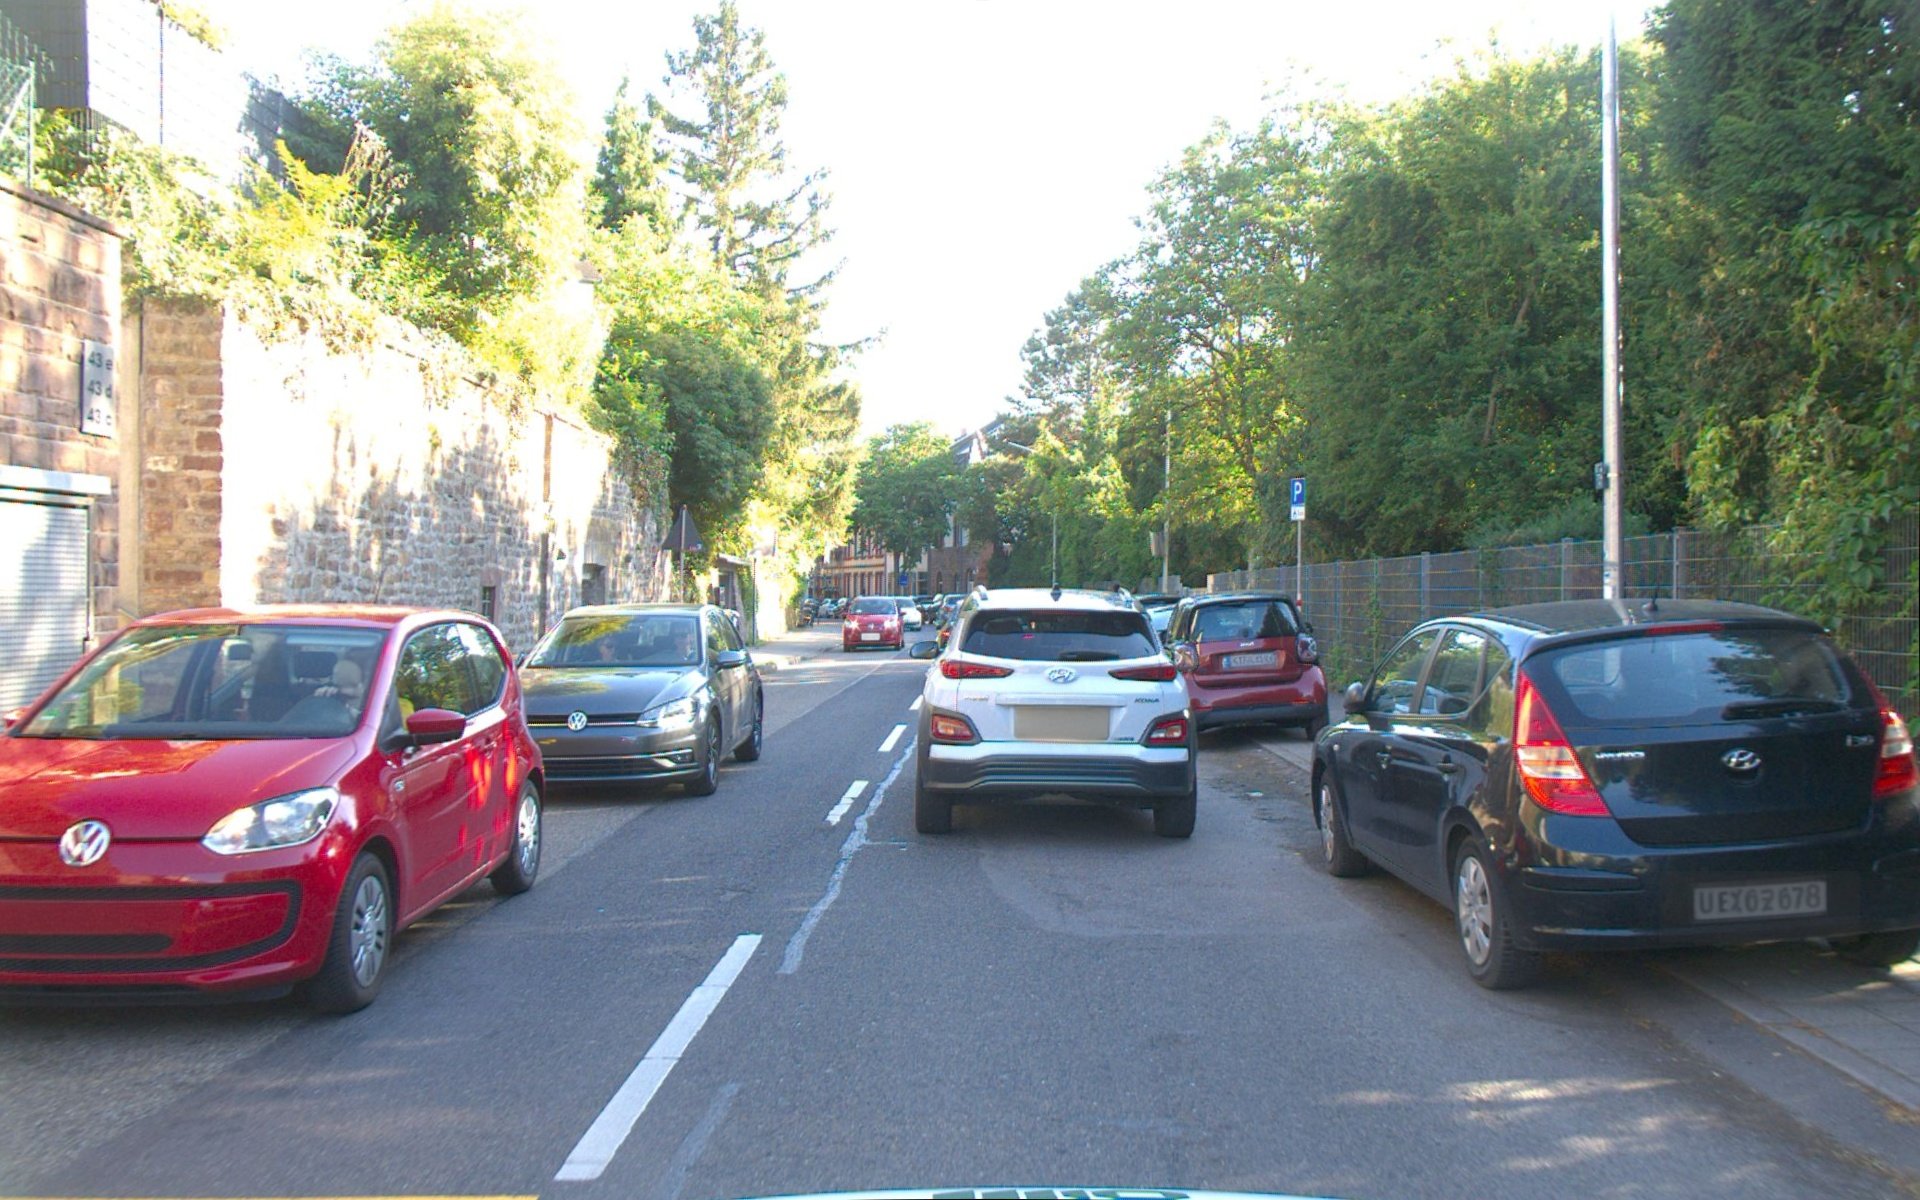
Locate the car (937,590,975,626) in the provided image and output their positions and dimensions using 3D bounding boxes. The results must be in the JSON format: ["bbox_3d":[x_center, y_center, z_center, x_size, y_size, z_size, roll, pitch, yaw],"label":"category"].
[{"bbox_3d":[-0.199,0.350,74.312,1.558,1.610,3.359,0,0,-2],"label":"car"}]

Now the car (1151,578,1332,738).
[{"bbox_3d":[2.972,0.568,17.926,1.618,1.591,2.873,0,0,3],"label":"car"}]

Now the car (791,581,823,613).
[{"bbox_3d":[-13.109,-0.270,141.493,1.899,2.628,4.372,-1,0,-17],"label":"car"}]

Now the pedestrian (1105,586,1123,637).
[{"bbox_3d":[4.963,0.367,53.393,0.492,1.634,0.491,-2,0,1],"label":"pedestrian"}]

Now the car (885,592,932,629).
[{"bbox_3d":[-2.212,0.451,71.807,1.705,1.500,4.001,-3,0,2],"label":"car"}]

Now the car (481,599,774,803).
[{"bbox_3d":[-2.591,0.721,13.745,1.615,1.435,3.931,0,0,0],"label":"car"}]

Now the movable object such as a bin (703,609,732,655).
[{"bbox_3d":[-5.460,0.722,37.191,0.561,1.002,0.438,2,-1,-1],"label":"movable object such as a bin"}]

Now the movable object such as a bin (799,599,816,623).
[{"bbox_3d":[-7.785,0.569,84.584,0.775,1.210,0.773,2,-1,0],"label":"movable object such as a bin"}]

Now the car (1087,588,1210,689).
[{"bbox_3d":[3.138,0.600,27.999,1.592,1.536,2.902,-2,1,-3],"label":"car"}]

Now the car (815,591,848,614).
[{"bbox_3d":[-9.920,0.180,127.506,1.727,1.645,3.983,2,1,-16],"label":"car"}]

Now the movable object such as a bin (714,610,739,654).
[{"bbox_3d":[-5.401,0.733,38.316,0.480,0.981,0.583,2,0,-1],"label":"movable object such as a bin"}]

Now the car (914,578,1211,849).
[{"bbox_3d":[0.738,0.670,11.817,1.735,1.569,4.002,1,0,4],"label":"car"}]

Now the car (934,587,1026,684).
[{"bbox_3d":[0.393,0.568,28.592,1.480,1.560,3.549,0,1,2],"label":"car"}]

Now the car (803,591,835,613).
[{"bbox_3d":[-11.324,0.174,132.595,1.727,1.645,3.983,2,1,-16],"label":"car"}]

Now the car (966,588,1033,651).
[{"bbox_3d":[1.030,0.464,41.967,1.537,1.503,3.549,1,0,3],"label":"car"}]

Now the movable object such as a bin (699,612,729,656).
[{"bbox_3d":[-5.459,0.748,36.732,0.572,0.953,0.438,2,-1,-1],"label":"movable object such as a bin"}]

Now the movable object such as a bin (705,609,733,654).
[{"bbox_3d":[-5.494,0.722,37.680,0.561,1.002,0.438,2,-1,-1],"label":"movable object such as a bin"}]

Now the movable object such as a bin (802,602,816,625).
[{"bbox_3d":[-6.817,0.602,74.523,0.485,1.029,1.113,2,-1,1],"label":"movable object such as a bin"}]

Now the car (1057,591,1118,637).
[{"bbox_3d":[4.324,0.456,56.642,1.652,1.456,3.999,-2,0,-2],"label":"car"}]

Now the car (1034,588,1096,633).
[{"bbox_3d":[3.887,0.390,62.048,1.563,1.592,3.993,-2,0,-7],"label":"car"}]

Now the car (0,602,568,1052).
[{"bbox_3d":[-2.904,0.743,7.173,1.593,1.446,3.562,0,0,-1],"label":"car"}]

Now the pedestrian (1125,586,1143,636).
[{"bbox_3d":[5.611,0.348,53.377,0.492,1.596,0.503,-2,0,1],"label":"pedestrian"}]

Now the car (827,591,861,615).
[{"bbox_3d":[-8.659,0.185,122.903,1.727,1.645,3.983,2,1,-16],"label":"car"}]

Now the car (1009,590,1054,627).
[{"bbox_3d":[3.141,0.355,73.048,1.562,1.515,3.600,-2,0,-3],"label":"car"}]

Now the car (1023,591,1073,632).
[{"bbox_3d":[3.554,0.452,67.217,1.562,1.546,3.930,-2,0,-3],"label":"car"}]

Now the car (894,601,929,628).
[{"bbox_3d":[-2.680,0.788,91.420,1.560,1.410,3.354,0,0,-8],"label":"car"}]

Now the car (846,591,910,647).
[{"bbox_3d":[-2.277,0.506,46.694,1.518,1.492,3.569,-1,0,1],"label":"car"}]

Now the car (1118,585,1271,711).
[{"bbox_3d":[3.204,0.604,23.369,1.675,1.524,4.816,2,0,3],"label":"car"}]

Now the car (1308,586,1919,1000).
[{"bbox_3d":[2.931,0.673,7.859,1.757,1.466,4.000,0,0,1],"label":"car"}]
